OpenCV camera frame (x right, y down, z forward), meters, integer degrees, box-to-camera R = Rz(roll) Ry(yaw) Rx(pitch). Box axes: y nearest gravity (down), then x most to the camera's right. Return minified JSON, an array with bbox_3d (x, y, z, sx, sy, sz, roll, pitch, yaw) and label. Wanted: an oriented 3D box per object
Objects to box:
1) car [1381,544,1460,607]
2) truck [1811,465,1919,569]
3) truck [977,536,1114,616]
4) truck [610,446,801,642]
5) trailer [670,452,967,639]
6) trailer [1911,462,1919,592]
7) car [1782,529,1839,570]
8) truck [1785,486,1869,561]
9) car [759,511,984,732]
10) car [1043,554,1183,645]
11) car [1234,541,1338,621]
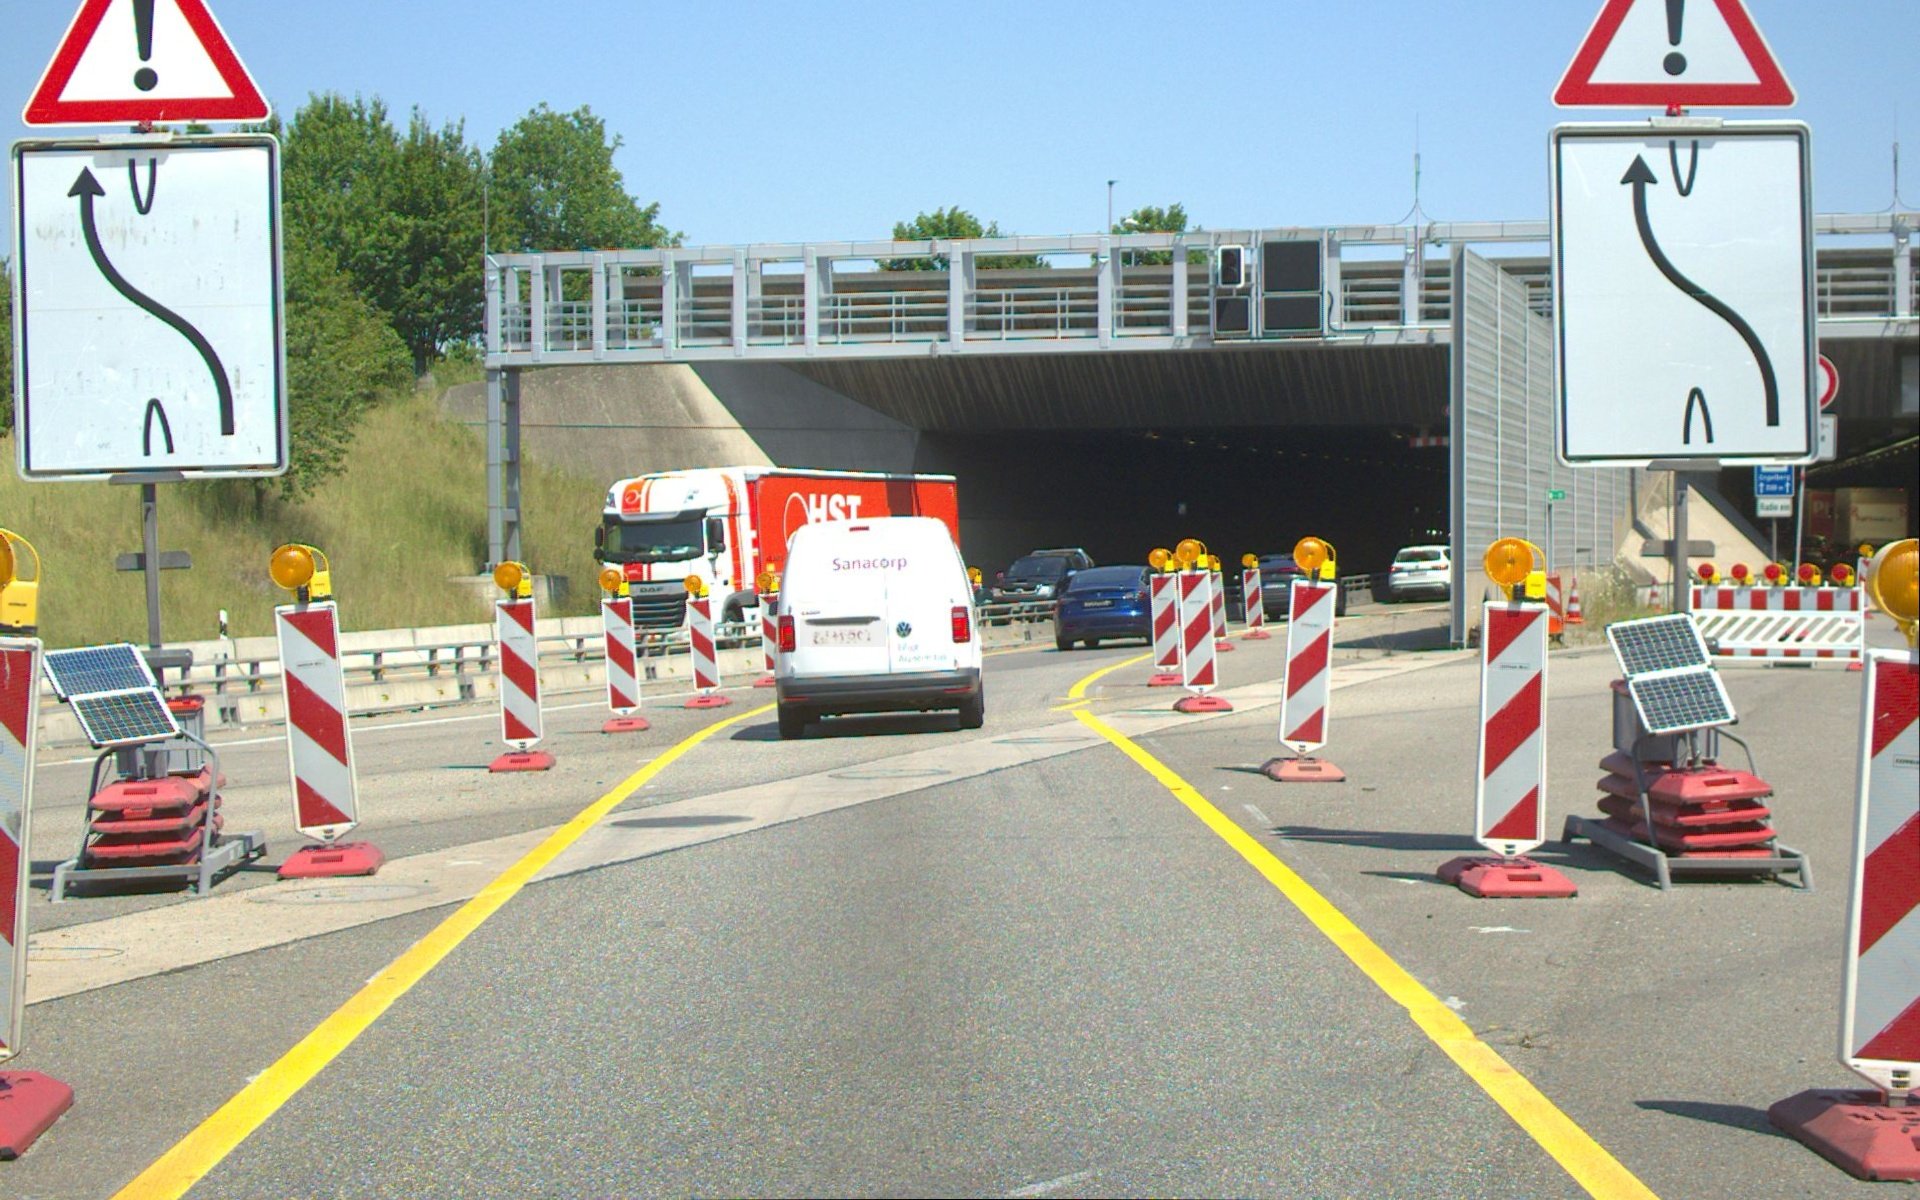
[{"bbox_3d":[13.196,-0.716,98.382,1.809,1.745,4.407,-1,0,13],"label":"car"},{"bbox_3d":[43.026,-3.843,163.935,3.403,4.320,16.529,2,0,10],"label":"truck"},{"bbox_3d":[2.160,-0.619,85.139,1.995,1.867,4.757,-1,1,19],"label":"truck"},{"bbox_3d":[-5.501,-1.195,74.949,2.336,4.094,5.013,-1,0,19],"label":"truck"},{"bbox_3d":[-3.114,-1.254,81.919,2.340,4.088,13.249,-1,0,19],"label":"trailer"},{"bbox_3d":[30.132,-2.216,100.995,2.733,4.048,14.089,1,0,10],"label":"trailer"},{"bbox_3d":[36.082,-2.130,145.908,1.815,1.624,4.189,1,0,7],"label":"car"},{"bbox_3d":[51.190,-4.421,203.483,3.403,4.057,16.529,1,0,10],"label":"truck"},{"bbox_3d":[-0.714,0.164,29.991,1.808,1.788,3.731,-1,0,1],"label":"car"},{"bbox_3d":[2.770,-0.026,61.295,1.809,1.532,4.407,-1,0,12],"label":"car"},{"bbox_3d":[7.647,-0.457,80.444,1.809,1.809,4.407,-1,0,13],"label":"car"}]
